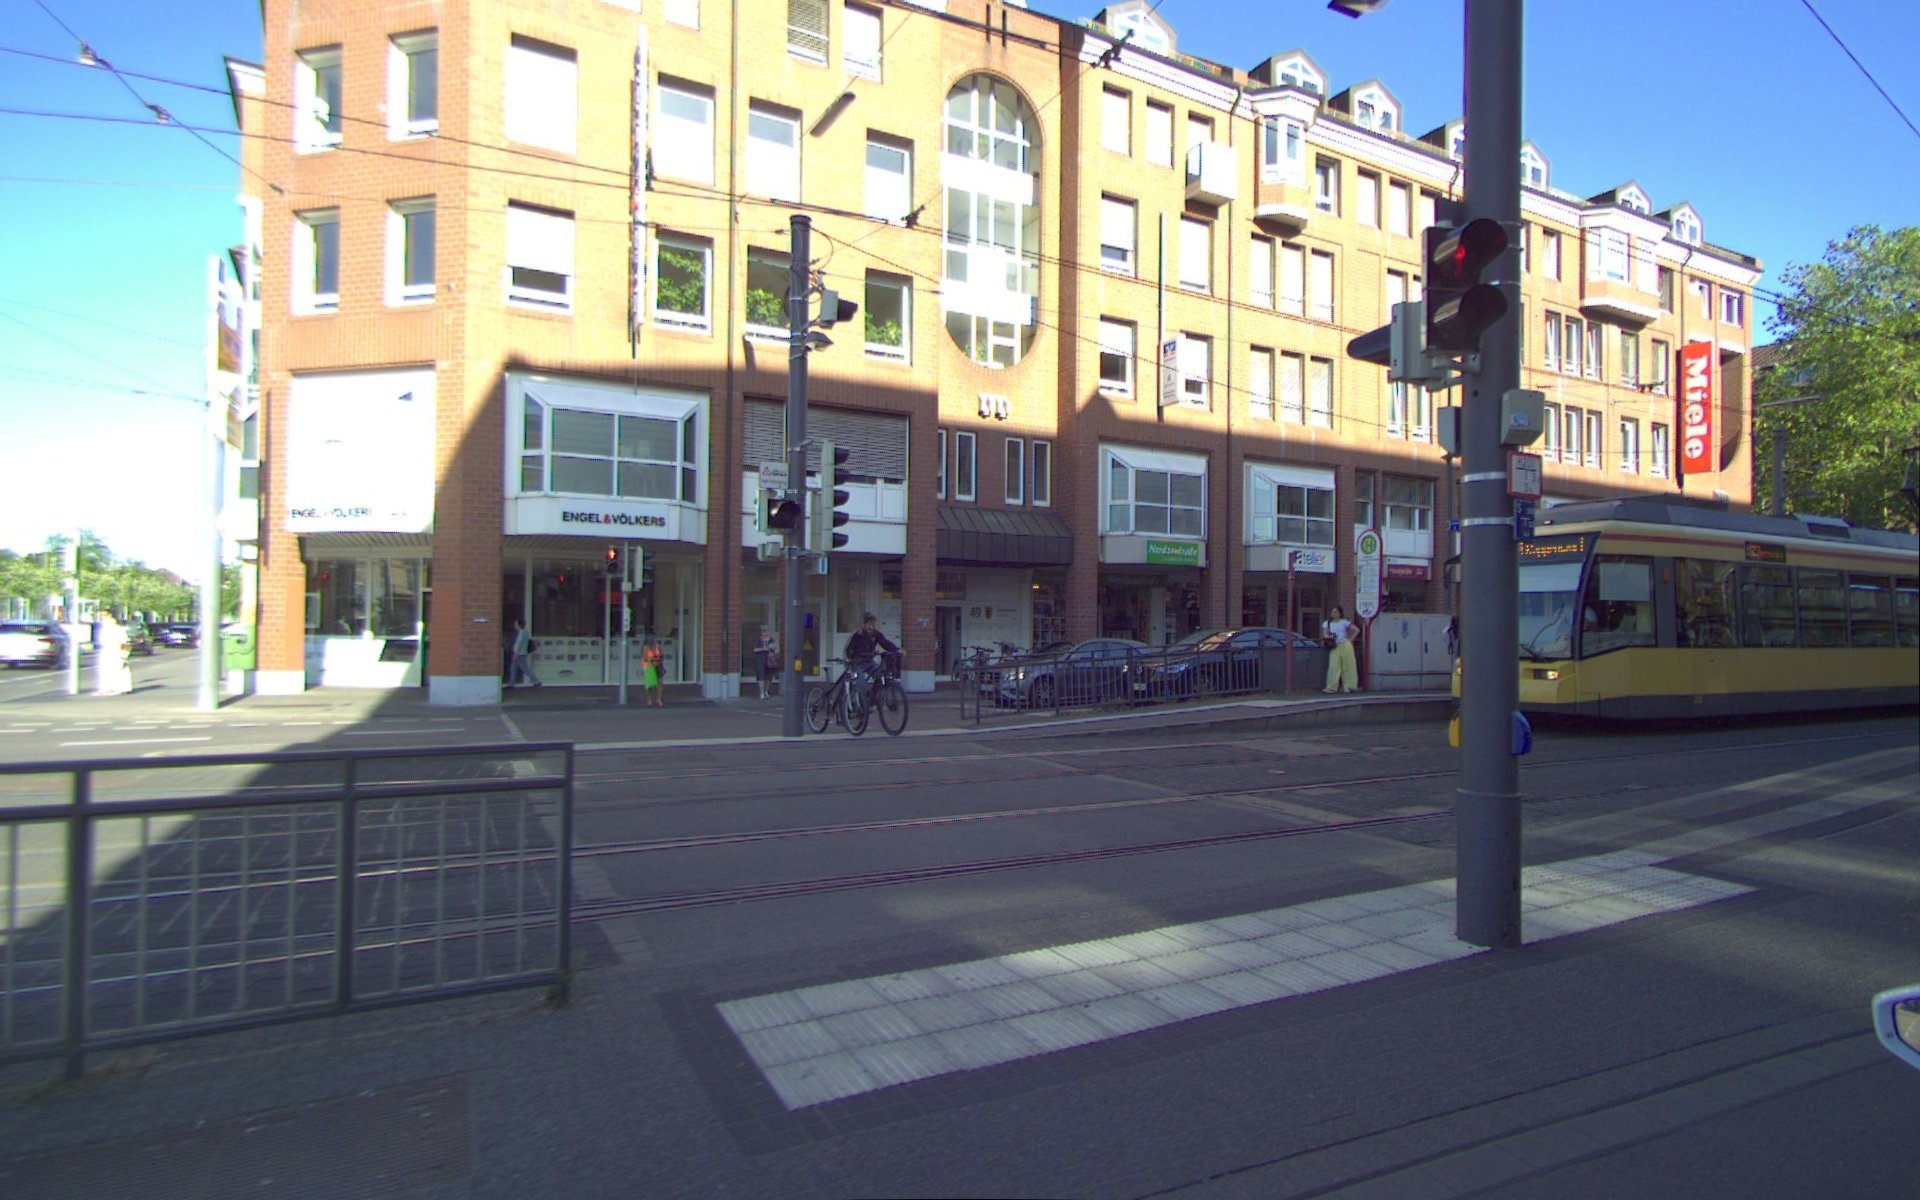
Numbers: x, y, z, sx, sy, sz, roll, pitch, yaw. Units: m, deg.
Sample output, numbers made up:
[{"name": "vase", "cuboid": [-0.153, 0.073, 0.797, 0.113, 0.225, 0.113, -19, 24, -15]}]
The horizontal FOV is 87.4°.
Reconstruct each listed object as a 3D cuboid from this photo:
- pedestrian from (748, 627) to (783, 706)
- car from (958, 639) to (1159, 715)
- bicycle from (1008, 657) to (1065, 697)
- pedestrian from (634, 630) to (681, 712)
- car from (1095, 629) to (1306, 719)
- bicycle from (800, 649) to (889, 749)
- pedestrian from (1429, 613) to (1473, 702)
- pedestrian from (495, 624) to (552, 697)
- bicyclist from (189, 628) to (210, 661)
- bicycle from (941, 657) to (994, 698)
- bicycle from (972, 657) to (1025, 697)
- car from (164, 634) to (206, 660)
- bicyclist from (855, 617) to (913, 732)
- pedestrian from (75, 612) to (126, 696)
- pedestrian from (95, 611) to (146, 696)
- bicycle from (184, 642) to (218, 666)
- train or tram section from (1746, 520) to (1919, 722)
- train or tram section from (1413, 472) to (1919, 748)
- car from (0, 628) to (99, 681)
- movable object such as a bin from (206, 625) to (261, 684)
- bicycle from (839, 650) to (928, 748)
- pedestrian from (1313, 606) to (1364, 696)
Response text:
[{"name": "pedestrian", "cuboid": [-4.259, 1.437, 22.007, 0.545, 1.693, 0.618, 1, -1, -31]}, {"name": "car", "cuboid": [2.088, 1.581, 21.173, 3.931, 1.473, 1.809, 2, -4, -30]}, {"name": "bicycle", "cuboid": [1.948, 1.953, 25.721, 0.579, 0.912, 1.752, 1, -1, -29]}, {"name": "pedestrian", "cuboid": [-6.193, 1.436, 20.549, 0.767, 1.615, 0.709, 1, 1, -28]}, {"name": "car", "cuboid": [4.624, 1.388, 19.271, 3.748, 1.564, 1.809, 2, -4, -30]}, {"name": "bicycle", "cuboid": [-1.552, 1.261, 13.223, 0.486, 1.173, 1.701, 1, -1, -31]}, {"name": "pedestrian", "cuboid": [8.802, 1.009, 17.990, 0.576, 1.551, 0.634, 0, -1, 39]}, {"name": "pedestrian", "cuboid": [-9.782, 1.339, 22.537, 0.846, 1.589, 0.887, 1, -1, 1]}, {"name": "bicyclist", "cuboid": [-42.141, 2.456, 55.667, 0.603, 1.795, 0.829, 1, -1, -12]}, {"name": "bicycle", "cuboid": [0.169, 1.885, 24.699, 0.515, 0.912, 1.703, 1, -1, -29]}, {"name": "bicycle", "cuboid": [0.946, 1.917, 25.139, 0.515, 0.912, 1.703, 1, -1, -29]}, {"name": "car", "cuboid": [-51.081, 3.086, 66.254, 1.710, 1.571, 3.446, 2, -2, -30]}, {"name": "bicyclist", "cuboid": [-1.023, 0.979, 13.447, 0.478, 1.490, 0.713, 1, -1, -31]}, {"name": "pedestrian", "cuboid": [-18.378, 1.135, 21.494, 0.704, 1.750, 0.683, 2, -1, -34]}, {"name": "pedestrian", "cuboid": [-17.626, 1.110, 21.101, 0.704, 1.750, 0.683, 2, -1, -34]}, {"name": "bicycle", "cuboid": [-42.153, 3.003, 55.811, 0.617, 1.239, 2.037, 1, -1, -11]}, {"name": "train or tram section", "cuboid": [20.834, 0.517, 21.397, 10.042, 3.593, 2.702, 2, -1, -28]}, {"name": "train or tram section", "cuboid": [12.020, 0.268, 16.650, 9.960, 3.589, 2.718, 2, -1, -28]}, {"name": "car", "cuboid": [-31.114, 1.813, 34.083, 1.819, 1.656, 3.468, 1, -1, -22]}, {"name": "movable object such as a bin", "cuboid": [-18.606, 1.378, 25.764, 1.085, 1.455, 0.989, 2, -1, -35]}, {"name": "bicycle", "cuboid": [-1.049, 1.288, 13.474, 0.486, 1.173, 1.668, 1, -1, -31]}, {"name": "pedestrian", "cuboid": [6.768, 0.904, 17.971, 0.577, 1.584, 0.634, 1, -1, -22]}]
